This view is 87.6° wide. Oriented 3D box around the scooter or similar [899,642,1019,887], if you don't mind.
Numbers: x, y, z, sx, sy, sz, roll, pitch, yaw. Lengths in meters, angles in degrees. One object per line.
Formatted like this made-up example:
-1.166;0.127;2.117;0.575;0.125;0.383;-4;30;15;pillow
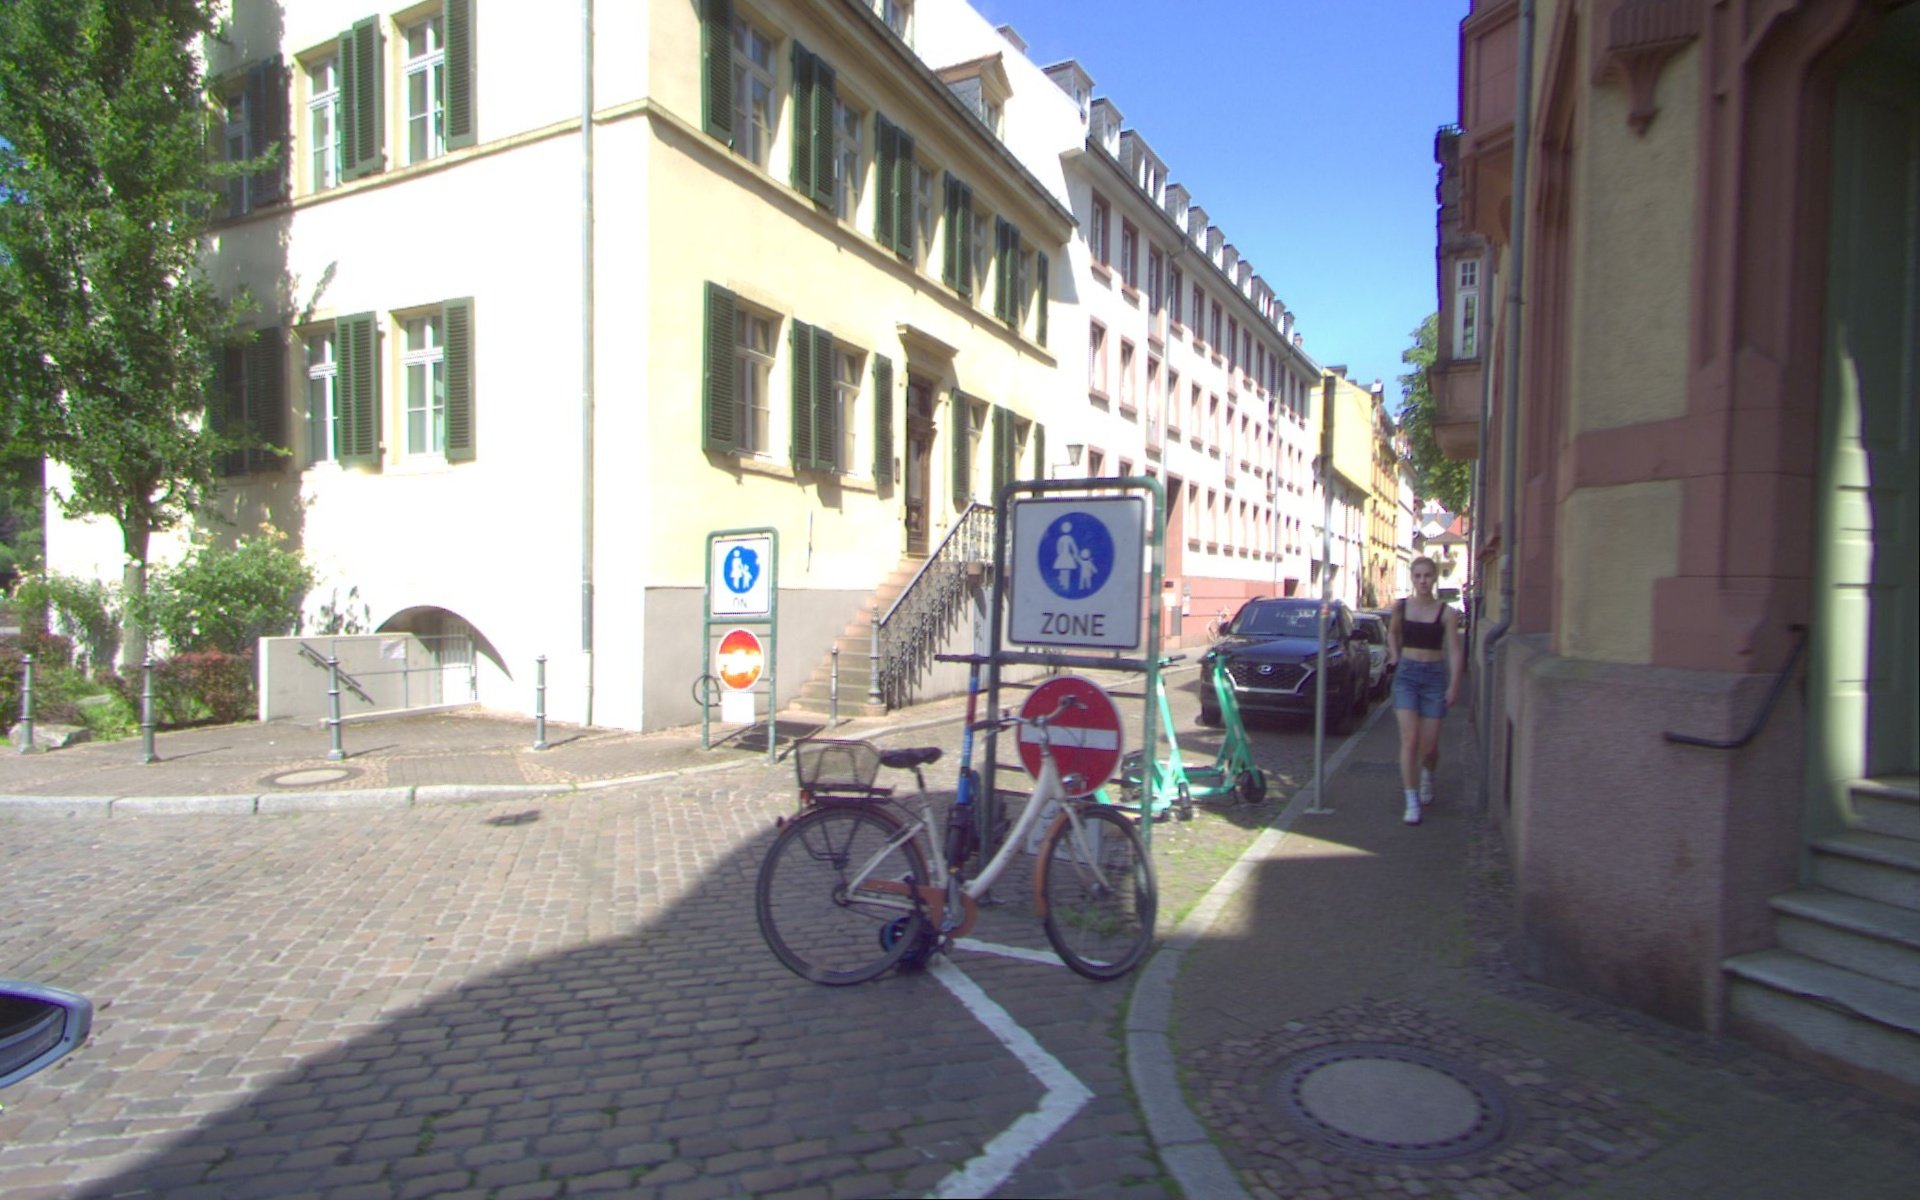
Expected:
0.023;0.910;5.988;0.434;1.252;1.189;1;1;14;scooter or similar

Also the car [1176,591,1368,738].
4.346;0.732;13.536;1.967;1.664;3.987;0;0;25;car

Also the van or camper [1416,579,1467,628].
24.659;0.159;51.177;2.151;2.352;5.340;1;0;27;van or camper

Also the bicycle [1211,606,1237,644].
8.491;0.783;32.162;0.450;1.198;1.439;1;1;30;bicycle

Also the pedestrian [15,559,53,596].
-33.189;-0.803;35.883;0.704;1.226;0.797;-2;-2;29;pedestrian

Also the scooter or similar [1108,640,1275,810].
1.769;0.946;7.755;1.211;1.225;0.413;1;1;8;scooter or similar

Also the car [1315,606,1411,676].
9.062;0.860;22.383;1.685;1.414;3.321;0;0;27;car

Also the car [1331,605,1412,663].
10.868;0.845;26.337;1.685;1.414;3.321;0;0;27;car

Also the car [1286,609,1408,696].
6.952;0.851;17.825;1.685;1.376;3.321;0;0;27;car

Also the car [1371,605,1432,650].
14.833;0.876;33.564;1.685;1.414;3.321;0;0;27;car

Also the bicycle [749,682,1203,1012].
0.054;0.950;4.096;1.759;1.162;0.505;0;2;-9;bicycle

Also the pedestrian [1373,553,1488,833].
3.266;0.610;6.953;0.613;1.781;0.977;-2;-1;26;pedestrian

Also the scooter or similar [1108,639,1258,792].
1.858;0.956;8.406;1.167;1.225;0.342;1;1;3;scooter or similar

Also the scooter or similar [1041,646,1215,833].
1.181;0.950;7.027;1.170;1.225;0.341;0;1;-19;scooter or similar
